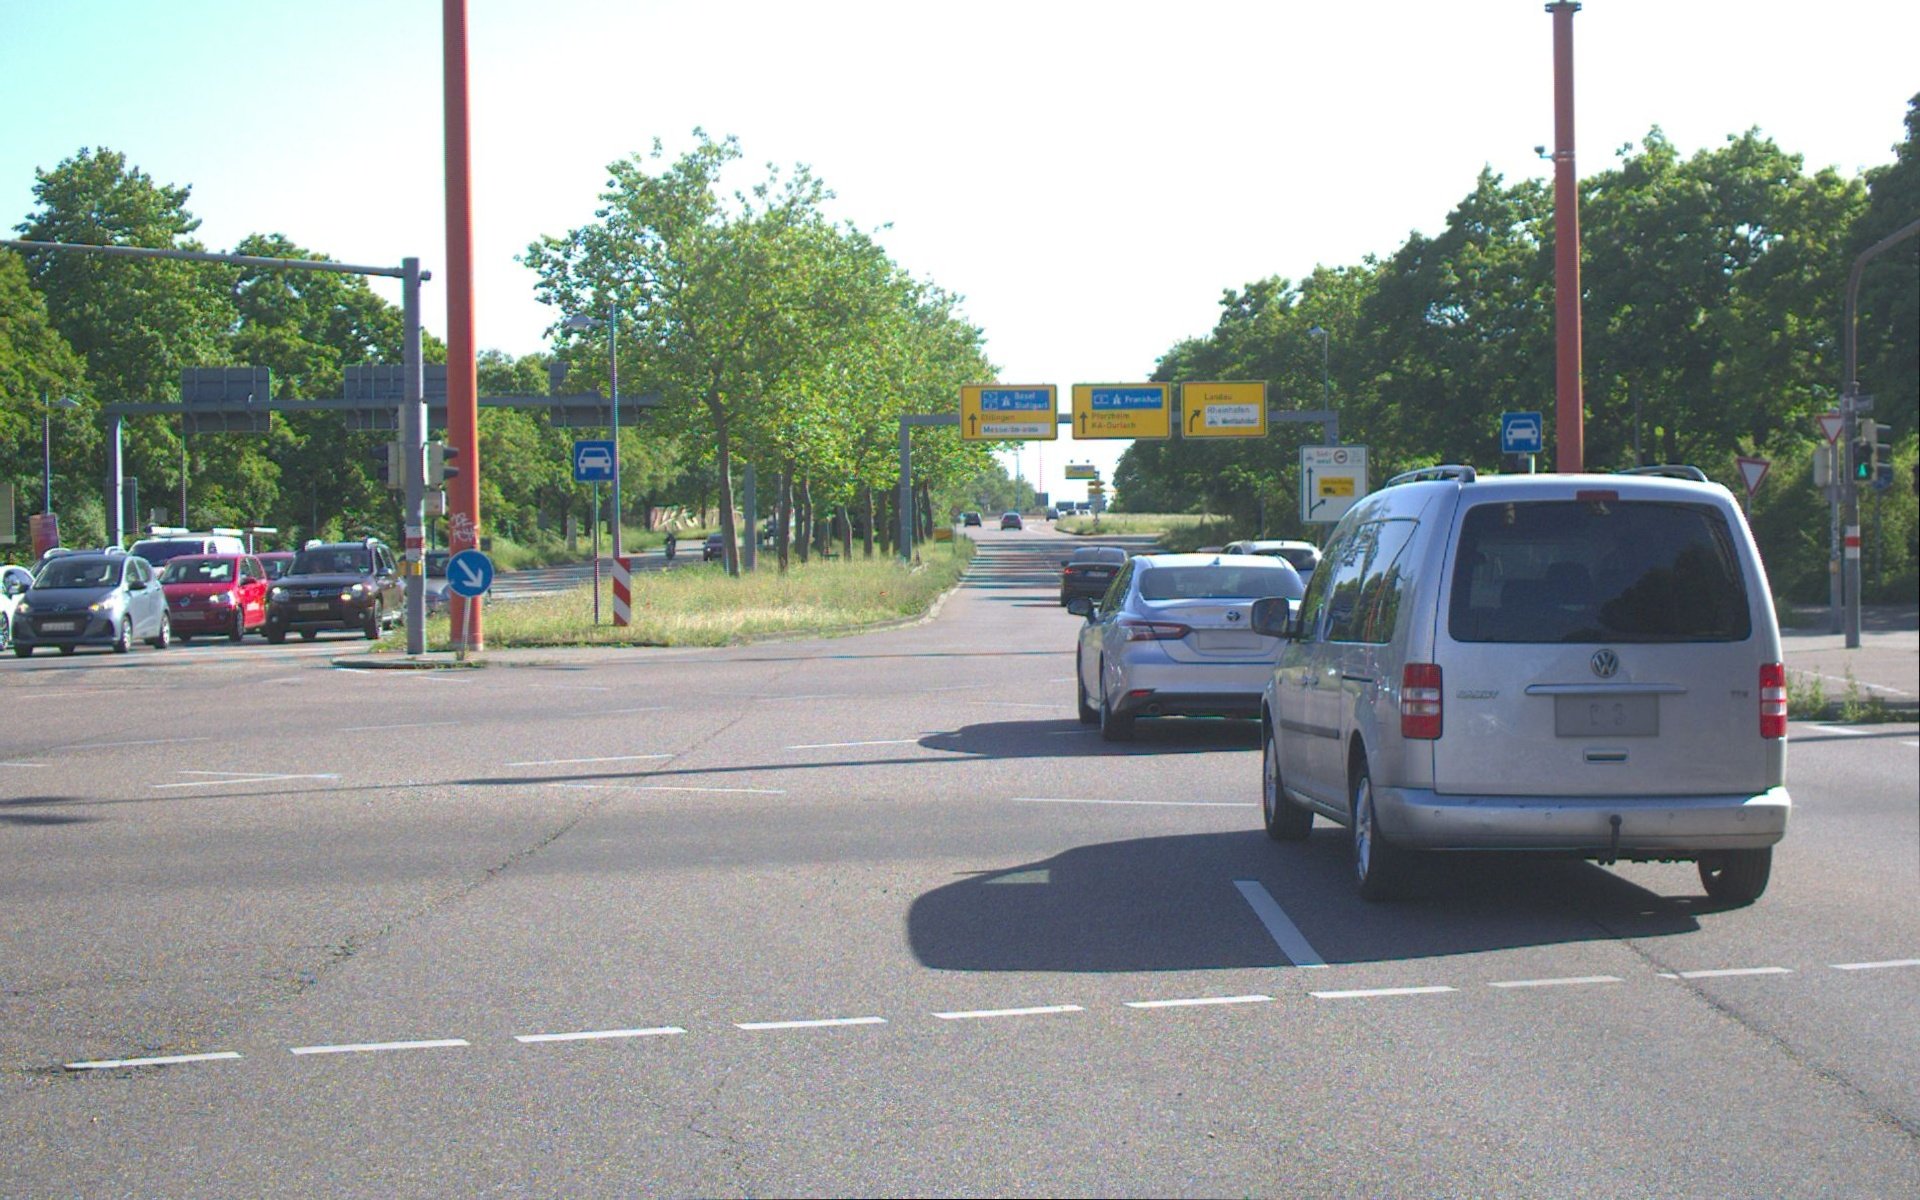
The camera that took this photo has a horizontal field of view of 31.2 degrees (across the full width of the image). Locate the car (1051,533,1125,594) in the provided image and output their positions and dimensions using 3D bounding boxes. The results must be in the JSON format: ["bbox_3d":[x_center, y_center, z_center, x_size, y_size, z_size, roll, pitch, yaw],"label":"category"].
[{"bbox_3d":[3.149,-0.907,85.157,1.764,1.436,4.295,1,1,1],"label":"car"}]

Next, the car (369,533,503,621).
[{"bbox_3d":[-9.690,-0.453,63.849,1.885,1.538,4.000,-2,1,-1],"label":"car"}]

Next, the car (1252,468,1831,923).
[{"bbox_3d":[2.520,0.361,16.033,1.804,1.815,4.587,0,1,-1],"label":"car"}]

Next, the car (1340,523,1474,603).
[{"bbox_3d":[9.387,-0.793,72.458,1.763,1.629,4.299,-1,1,-7],"label":"car"}]

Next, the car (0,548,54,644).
[{"bbox_3d":[-16.533,-0.059,57.286,1.901,1.549,4.000,-1,1,-2],"label":"car"}]

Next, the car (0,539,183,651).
[{"bbox_3d":[-13.219,-0.107,52.295,1.874,1.545,4.028,-2,1,-1],"label":"car"}]

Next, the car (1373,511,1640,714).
[{"bbox_3d":[5.333,0.069,34.170,1.804,1.845,5.103,-1,1,0],"label":"car"}]

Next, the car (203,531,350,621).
[{"bbox_3d":[-12.806,-0.463,64.629,1.901,1.624,4.000,0,1,1],"label":"car"}]

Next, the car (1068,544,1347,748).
[{"bbox_3d":[1.908,0.319,27.795,1.804,1.488,4.682,1,1,-1],"label":"car"}]

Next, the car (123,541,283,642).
[{"bbox_3d":[-12.868,-0.166,58.633,1.875,1.547,4.000,-3,1,-2],"label":"car"}]

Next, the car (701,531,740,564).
[{"bbox_3d":[-13.656,-3.013,196.235,1.915,1.840,3.961,-1,1,0],"label":"car"}]

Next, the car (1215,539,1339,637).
[{"bbox_3d":[5.400,-0.225,58.933,1.716,1.602,3.847,1,1,0],"label":"car"}]

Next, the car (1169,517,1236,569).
[{"bbox_3d":[7.775,-1.824,110.630,1.764,1.630,4.298,1,1,-1],"label":"car"}]

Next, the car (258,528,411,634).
[{"bbox_3d":[-10.214,-0.335,56.370,1.793,1.620,4.144,-2,1,-1],"label":"car"}]

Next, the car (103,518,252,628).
[{"bbox_3d":[-16.068,-0.577,70.833,1.961,2.147,5.082,-1,1,-1],"label":"car"}]
